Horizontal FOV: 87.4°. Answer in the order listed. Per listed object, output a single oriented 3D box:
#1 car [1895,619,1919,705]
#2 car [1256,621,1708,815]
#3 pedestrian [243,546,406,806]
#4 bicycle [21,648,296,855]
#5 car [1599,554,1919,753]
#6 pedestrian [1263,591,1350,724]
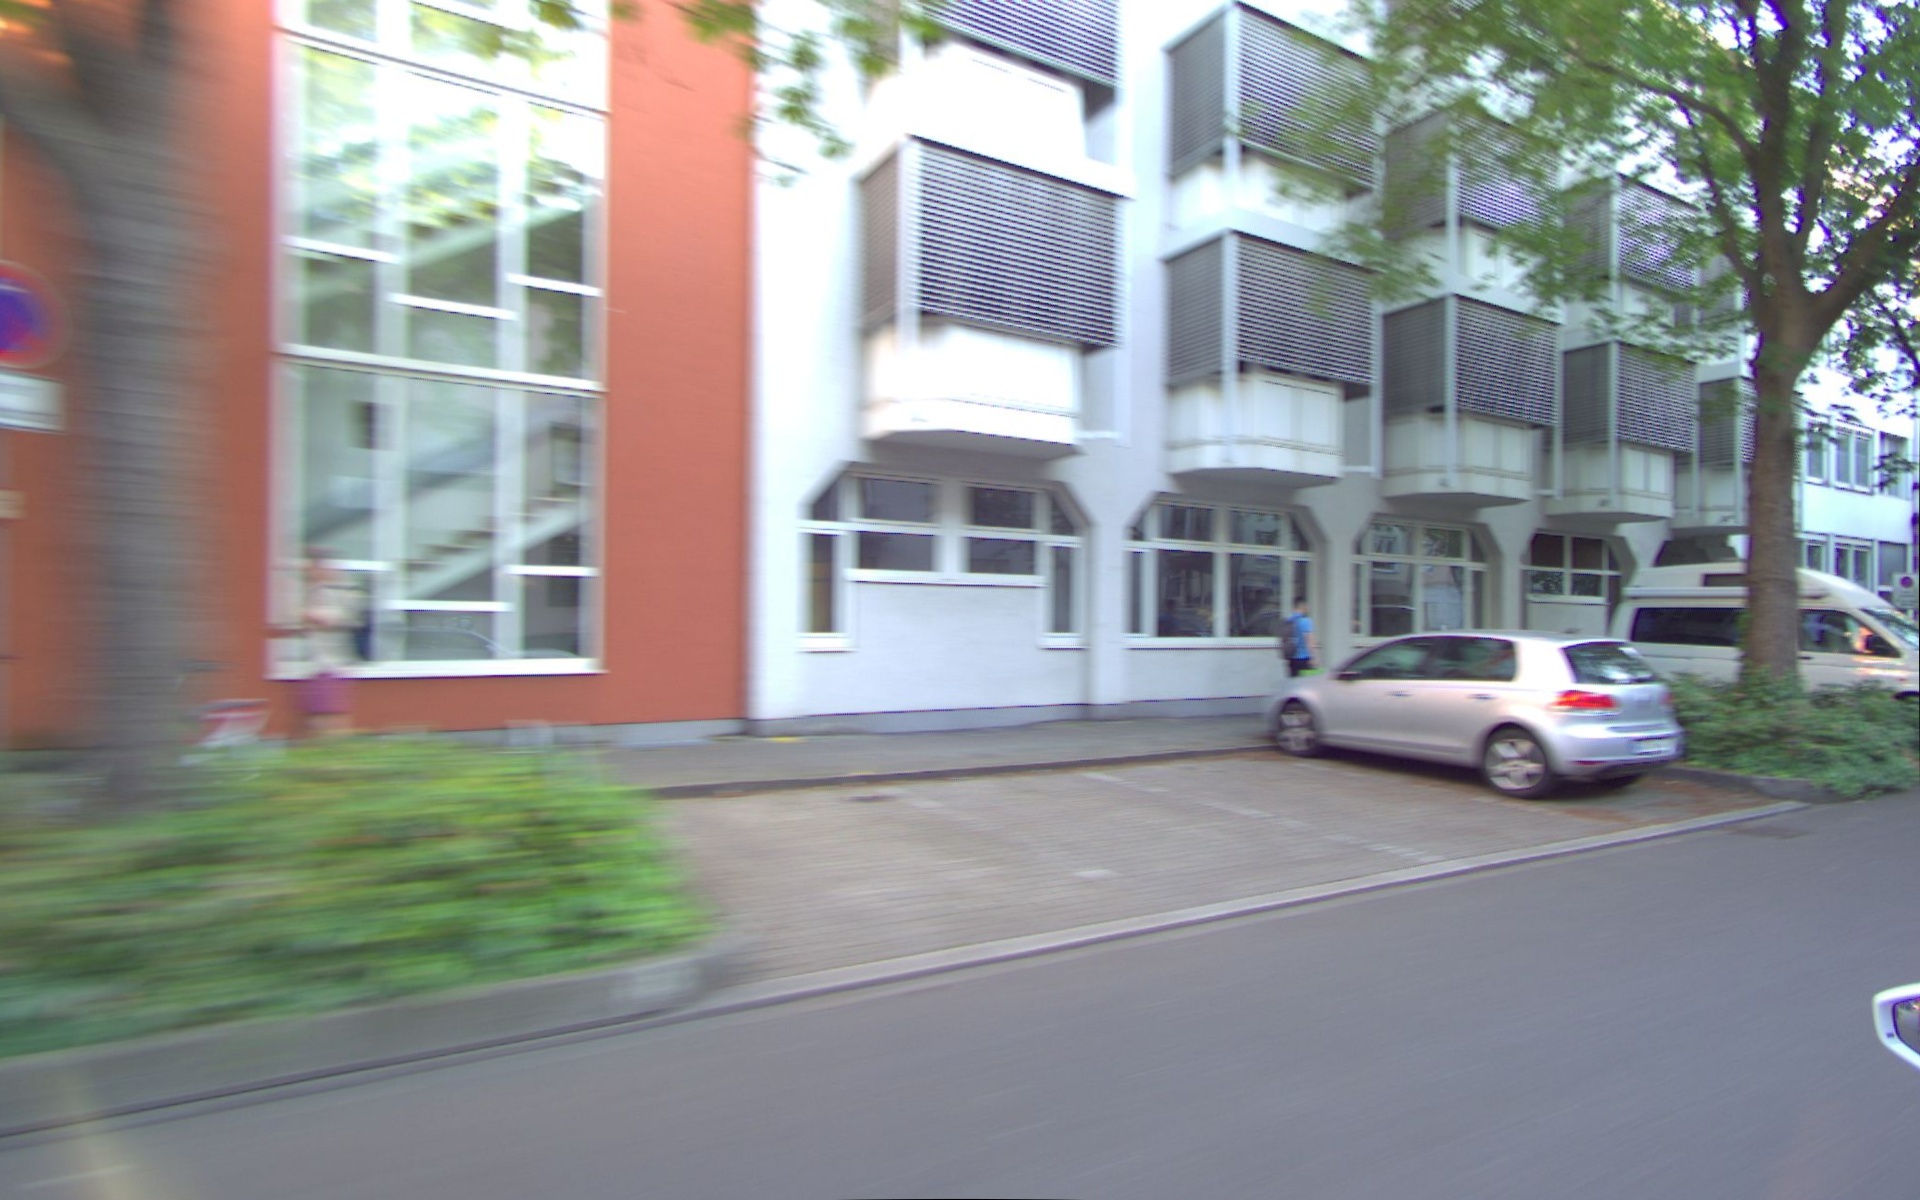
[{"bbox_3d":[22.821,1.300,20.815,1.939,1.878,4.662,1,-3,-29],"label":"car"},{"bbox_3d":[5.114,1.022,10.394,1.735,1.506,3.855,1,0,-28],"label":"car"},{"bbox_3d":[-4.552,0.529,7.248,0.726,1.780,0.705,1,0,-6],"label":"pedestrian"},{"bbox_3d":[-4.997,0.877,6.421,0.491,1.043,1.798,1,0,-7],"label":"bicycle"},{"bbox_3d":[12.233,0.702,14.533,1.976,2.510,4.661,1,-1,-29],"label":"car"},{"bbox_3d":[4.725,0.763,13.716,0.894,1.751,0.700,1,0,-30],"label":"pedestrian"}]
